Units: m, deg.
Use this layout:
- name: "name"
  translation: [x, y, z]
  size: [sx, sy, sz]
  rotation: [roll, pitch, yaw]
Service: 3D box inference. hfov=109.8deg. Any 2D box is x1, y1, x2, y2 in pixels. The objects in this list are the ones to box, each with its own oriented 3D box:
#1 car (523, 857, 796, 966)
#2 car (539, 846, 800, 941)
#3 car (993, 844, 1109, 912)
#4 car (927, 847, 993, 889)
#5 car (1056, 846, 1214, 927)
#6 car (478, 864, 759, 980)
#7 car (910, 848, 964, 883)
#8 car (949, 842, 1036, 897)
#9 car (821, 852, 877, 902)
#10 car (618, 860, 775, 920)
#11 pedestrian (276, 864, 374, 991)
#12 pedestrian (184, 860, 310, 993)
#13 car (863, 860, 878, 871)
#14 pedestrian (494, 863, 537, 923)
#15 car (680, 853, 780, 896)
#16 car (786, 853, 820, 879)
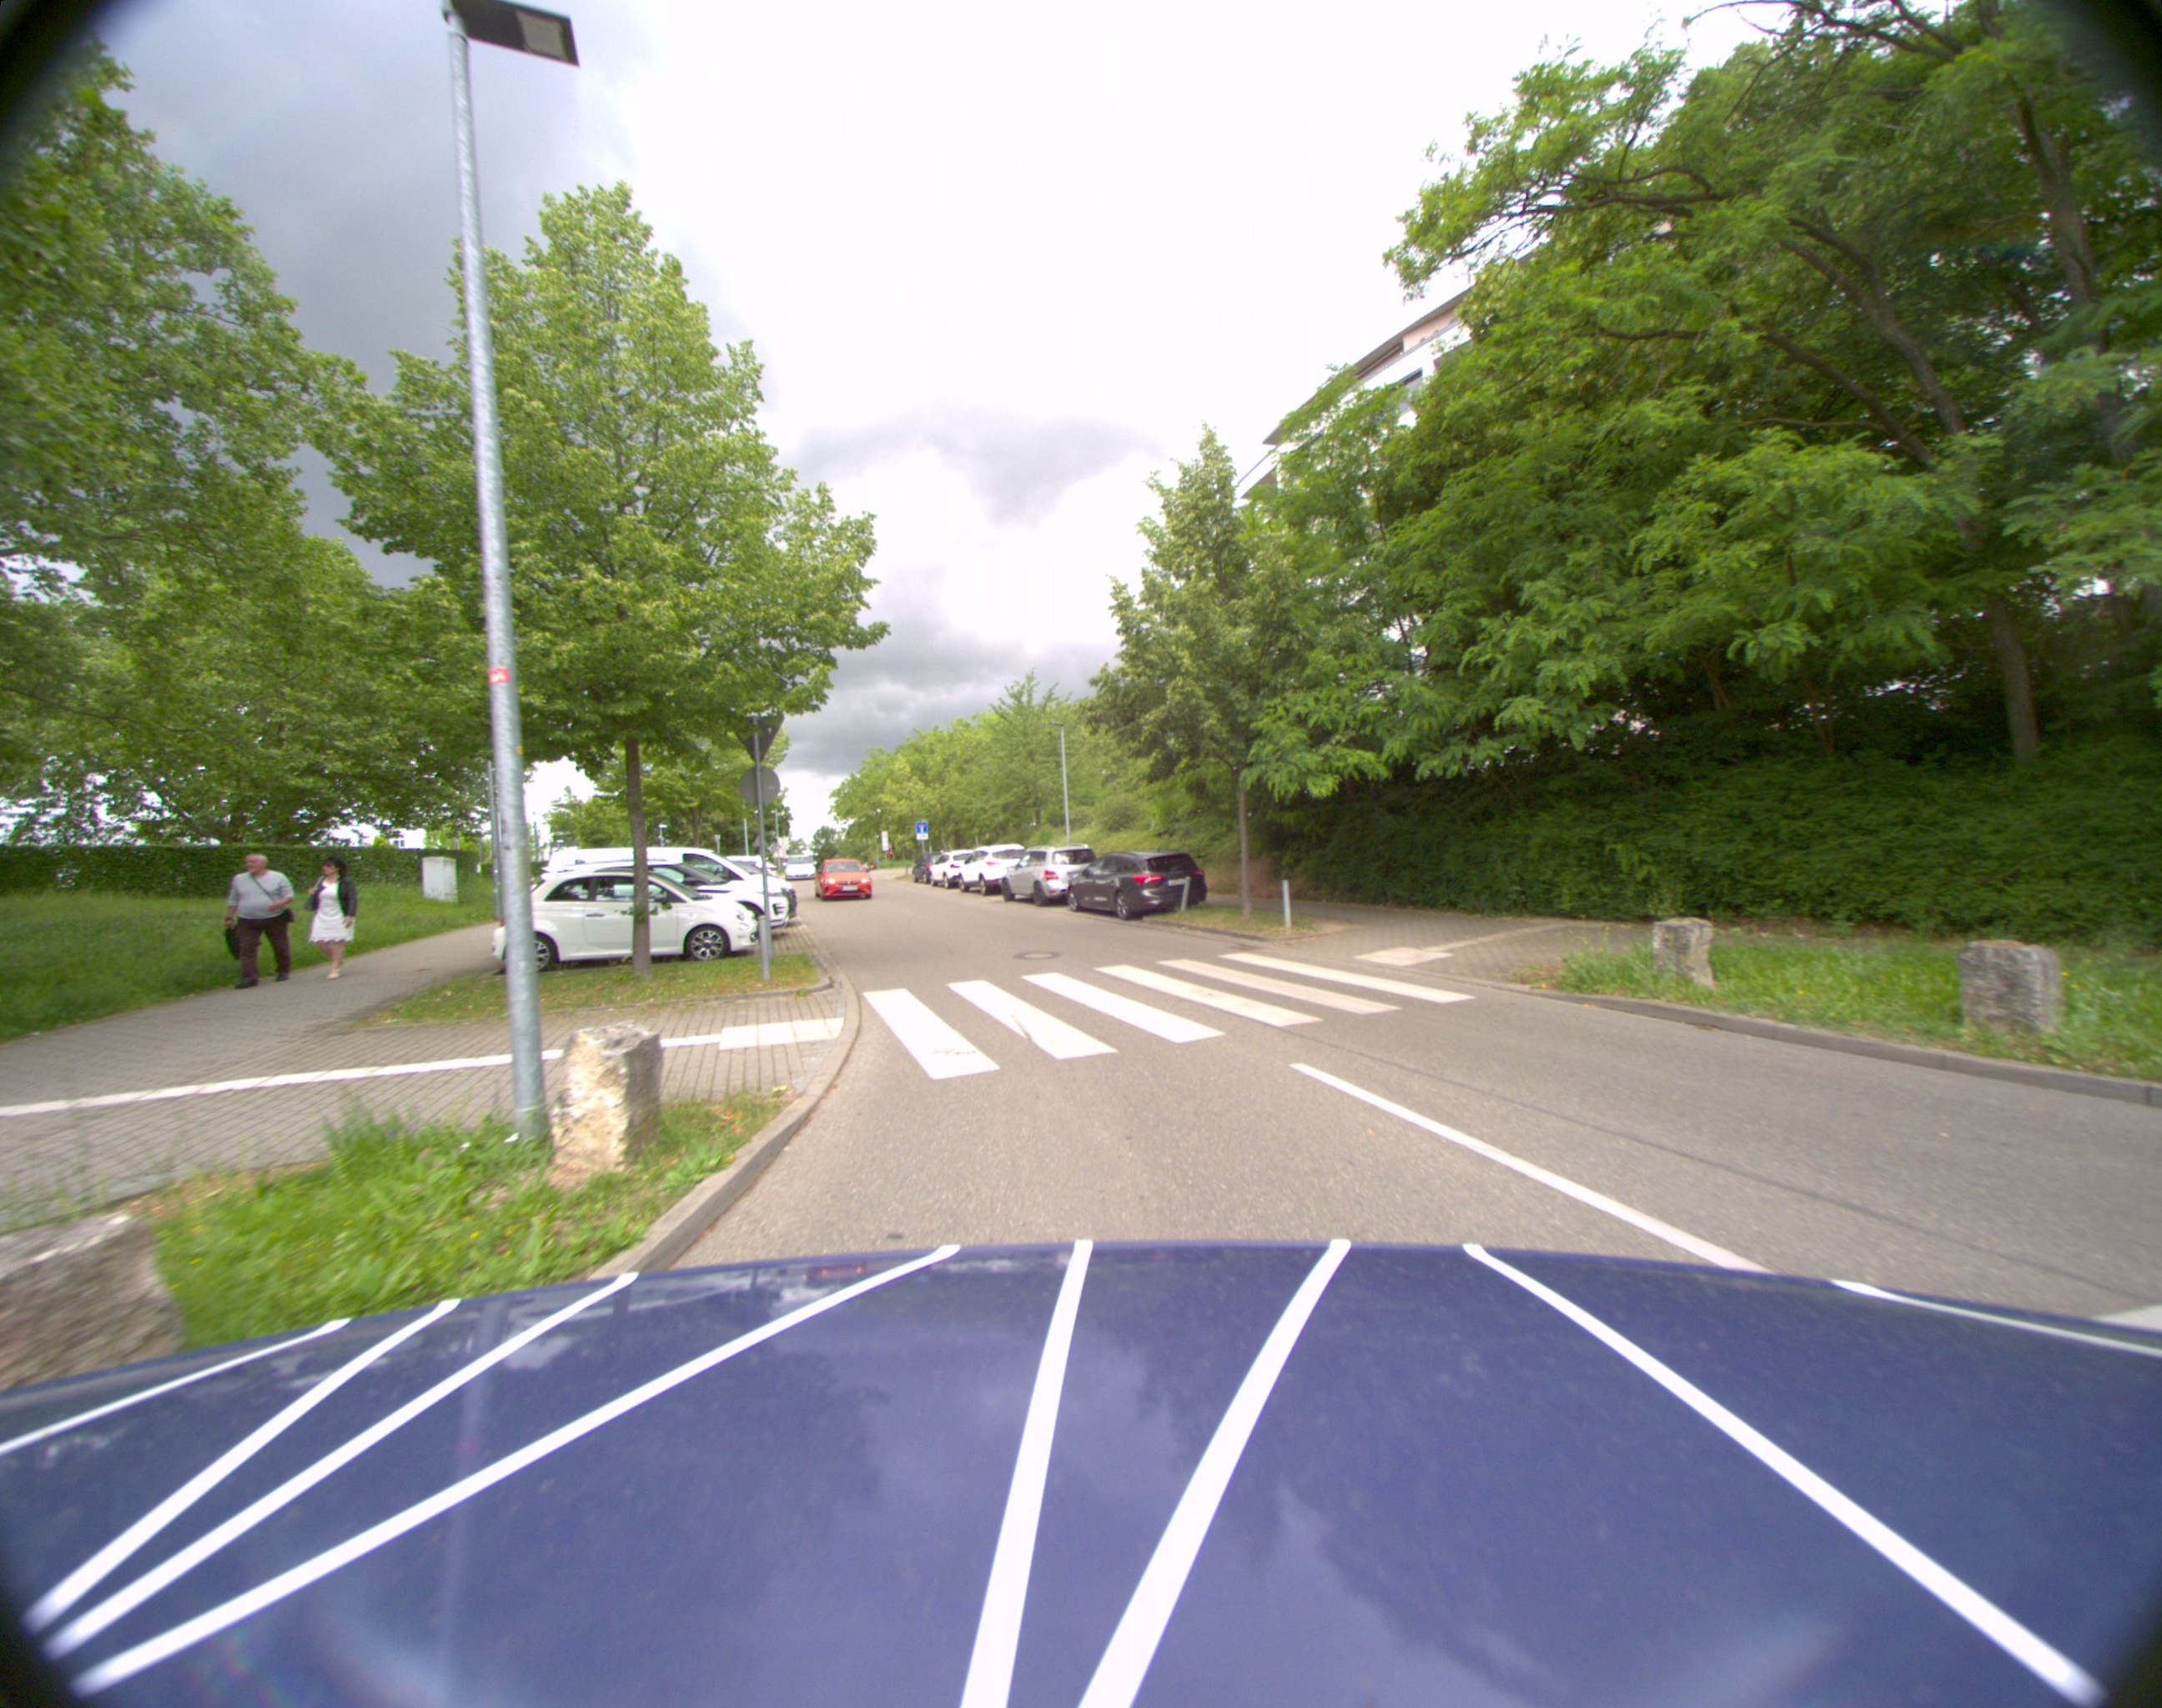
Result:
- name: "car"
  translation: [-7.687, 0.973, 14.305]
  size: [4.168, 1.593, 1.735]
  rotation: [-4, 1, -24]
- name: "car"
  translation: [-8.780, 0.781, 16.747]
  size: [4.794, 1.821, 1.839]
  rotation: [-1, 1, -21]
- name: "car"
  translation: [-1.001, 0.603, 22.321]
  size: [1.806, 1.607, 4.469]
  rotation: [-6, 3, -23]
- name: "car"
  translation: [-5.275, 0.572, 32.690]
  size: [1.696, 1.503, 4.222]
  rotation: [-6, 2, -23]
- name: "car"
  translation: [1.065, 0.653, 17.532]
  size: [1.696, 1.457, 4.448]
  rotation: [-6, 2, -23]
- name: "car"
  translation: [-7.073, 0.968, 12.077]
  size: [3.526, 1.453, 1.735]
  rotation: [-3, 1, -23]
- name: "car"
  translation: [-7.138, 0.556, 37.413]
  size: [1.696, 1.479, 3.946]
  rotation: [-6, 2, -22]
- name: "car"
  translation: [-3.290, 0.533, 27.501]
  size: [1.814, 1.655, 4.428]
  rotation: [-6, 2, -23]
- name: "car"
  translation: [-8.560, 0.783, 27.973]
  size: [1.761, 1.507, 3.992]
  rotation: [-3, 3, -18]
- name: "car"
  translation: [-10.928, 0.960, 21.874]
  size: [3.841, 1.511, 1.908]
  rotation: [-1, 1, -24]
- name: "pedestrian"
  translation: [-10.366, 0.980, 10.448]
  size: [0.691, 1.647, 0.599]
  rotation: [-4, 1, -24]
- name: "pedestrian"
  translation: [-11.075, 0.930, 10.128]
  size: [0.873, 1.647, 0.592]
  rotation: [-4, 1, -24]
- name: "car"
  translation: [-29.532, 1.596, 106.337]
  size: [1.761, 1.507, 3.994]
  rotation: [-3, 1, -18]
- name: "pedestrian"
  translation: [-14.859, 1.018, 19.985]
  size: [0.679, 1.511, 0.705]
  rotation: [-4, 1, -25]
- name: "car"
  translation: [-14.722, 0.841, 32.095]
  size: [3.685, 1.637, 1.848]
  rotation: [-2, 1, -21]
- name: "car"
  translation: [-17.600, 0.750, 48.283]
  size: [1.761, 1.507, 3.994]
  rotation: [-3, 1, -18]
